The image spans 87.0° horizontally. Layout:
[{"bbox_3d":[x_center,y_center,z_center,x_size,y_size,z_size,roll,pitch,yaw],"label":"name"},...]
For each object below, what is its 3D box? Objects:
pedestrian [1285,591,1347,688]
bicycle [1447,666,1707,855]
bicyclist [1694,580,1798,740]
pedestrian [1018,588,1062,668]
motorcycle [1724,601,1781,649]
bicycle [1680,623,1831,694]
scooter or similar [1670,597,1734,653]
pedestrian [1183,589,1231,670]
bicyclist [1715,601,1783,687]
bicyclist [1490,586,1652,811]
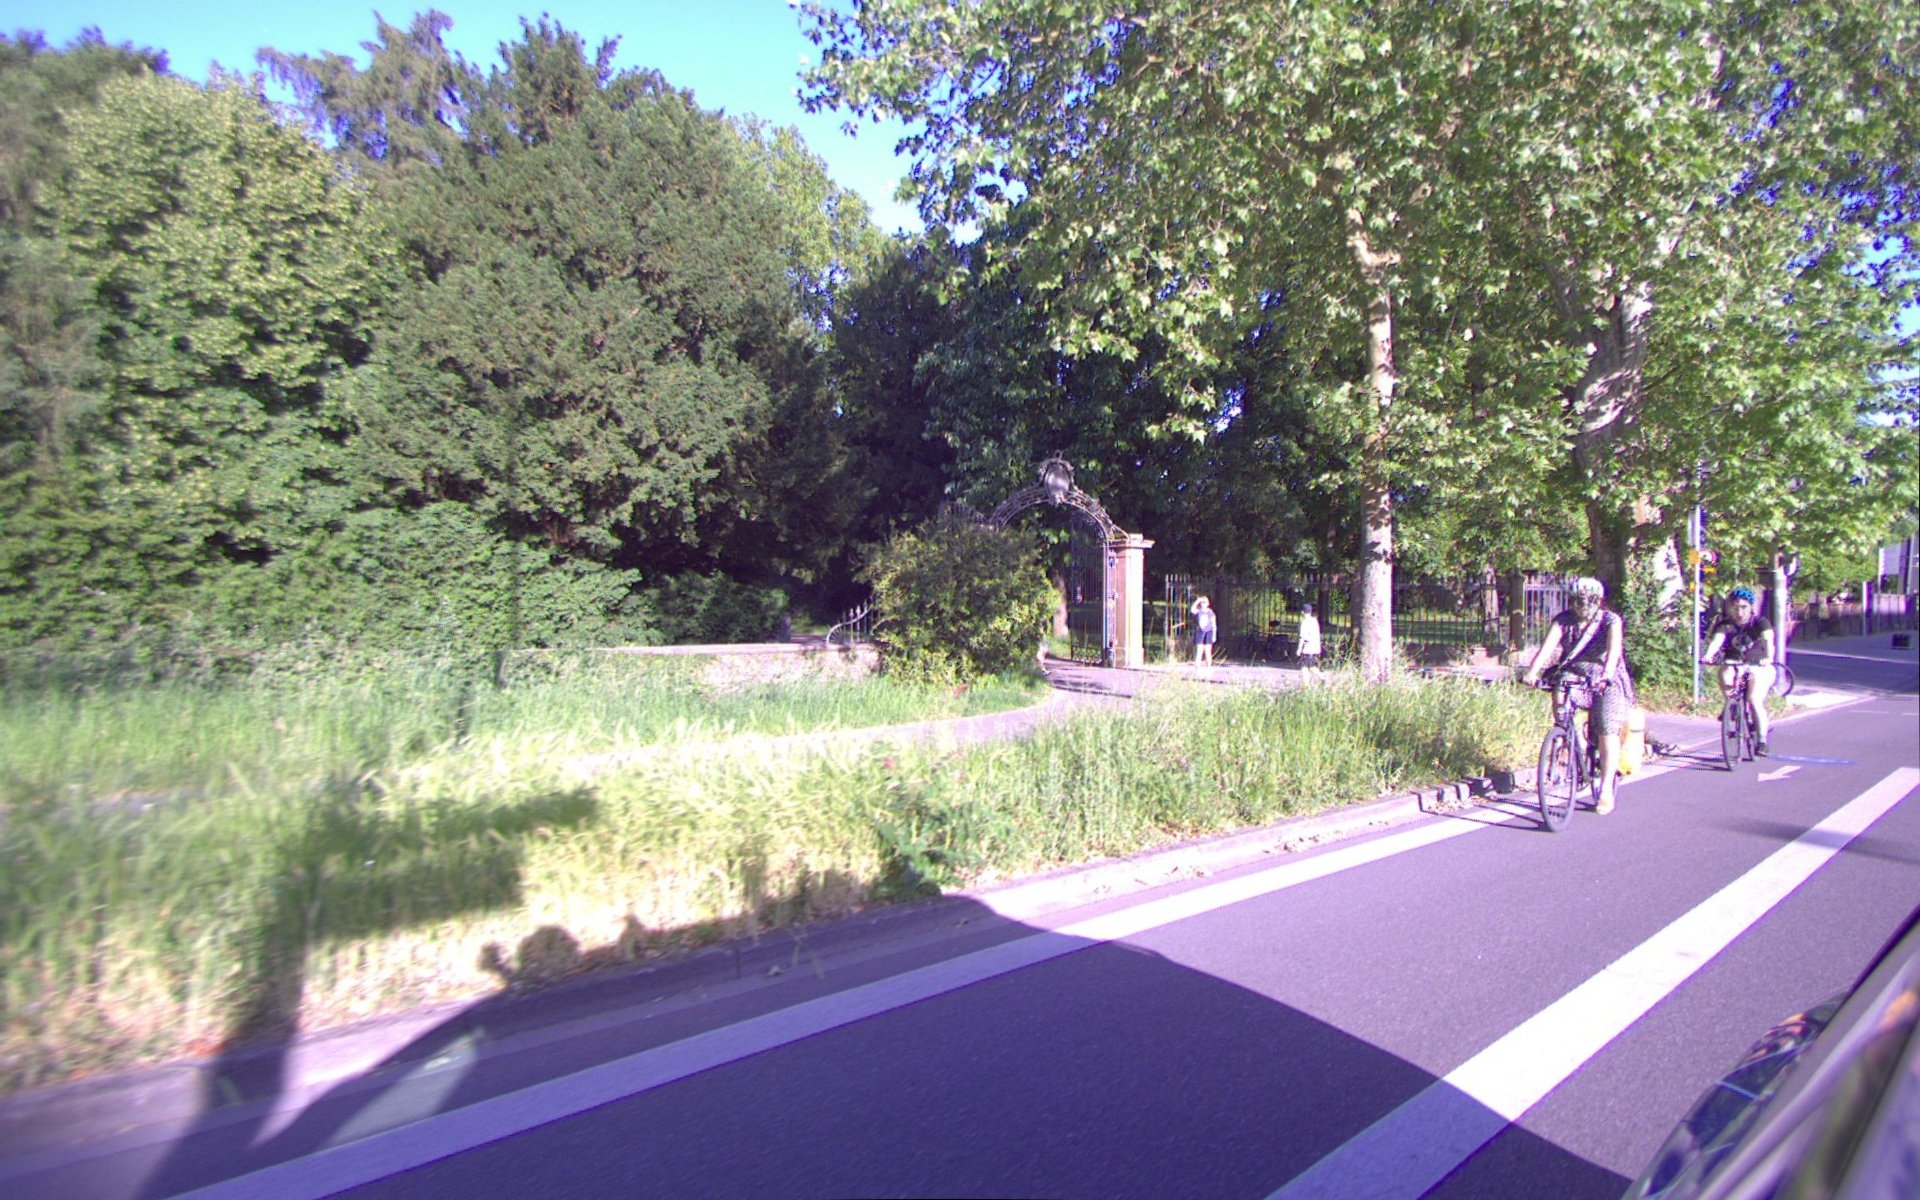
[{"bbox_3d":[5.912,0.640,16.806,0.667,1.565,0.693,0,0,-32],"label":"pedestrian"},{"bbox_3d":[4.532,1.095,7.387,2.093,1.109,0.696,0,1,-30],"label":"bicycle"},{"bbox_3d":[7.910,0.567,10.183,0.878,1.520,0.694,0,0,-44],"label":"bicyclist"},{"bbox_3d":[1.751,0.607,22.294,0.667,1.733,0.692,0,-2,-32],"label":"pedestrian"},{"bbox_3d":[22.770,0.699,29.070,2.002,1.309,0.906,0,1,-41],"label":"motorcycle"},{"bbox_3d":[14.007,0.996,17.882,0.682,1.109,1.992,0,1,-33],"label":"bicycle"},{"bbox_3d":[18.044,0.584,24.585,1.804,1.270,0.794,0,4,-41],"label":"scooter or similar"},{"bbox_3d":[5.144,0.604,21.112,0.667,1.654,0.693,0,0,-32],"label":"pedestrian"},{"bbox_3d":[13.970,0.761,17.928,0.682,1.466,0.767,0,0,-34],"label":"bicyclist"},{"bbox_3d":[4.400,0.655,7.298,0.784,1.509,0.696,0,0,-30],"label":"bicyclist"}]
